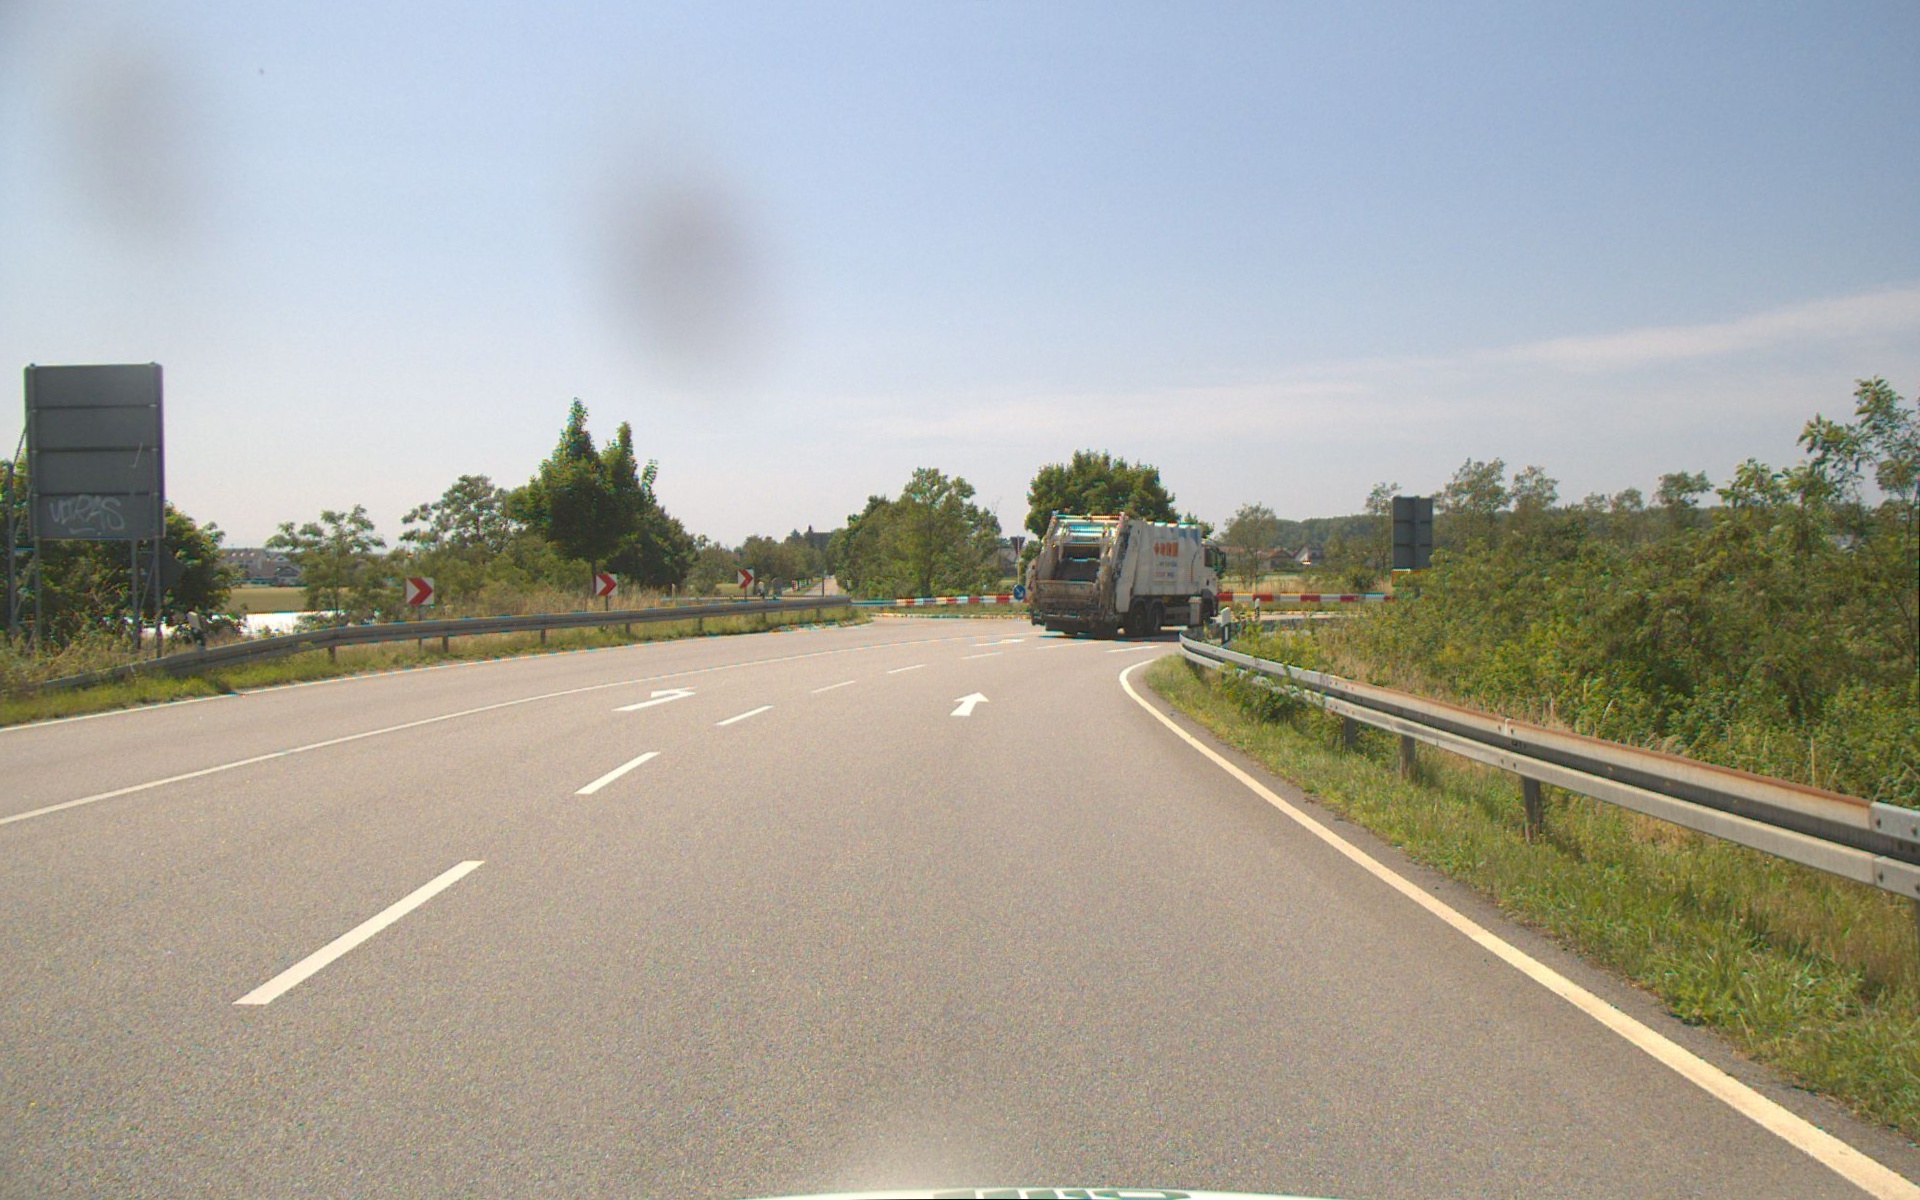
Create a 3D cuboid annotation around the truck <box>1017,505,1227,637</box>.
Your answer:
[{"bbox_3d":[5.323,-0.833,51.875,2.760,3.733,9.930,1,0,29],"label":"truck"}]
